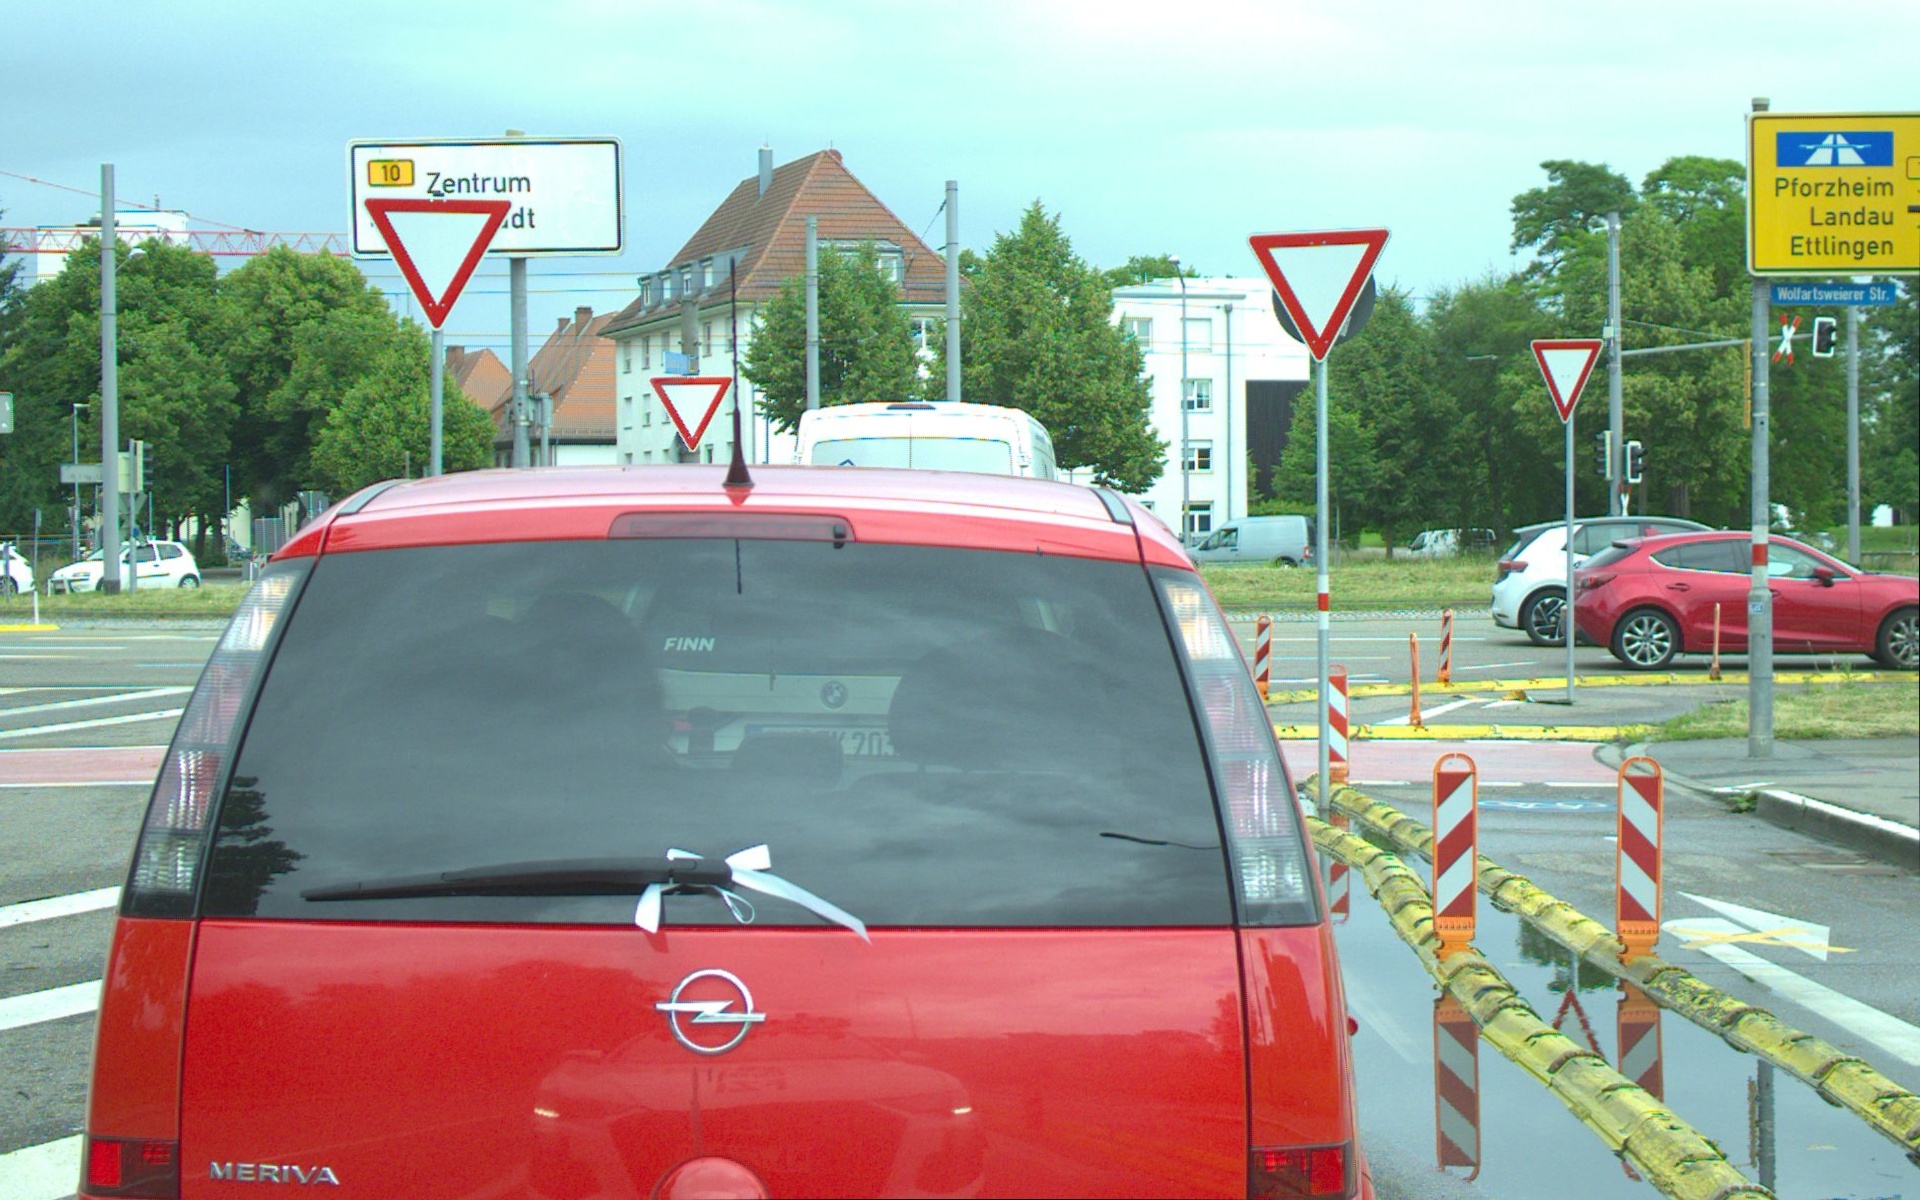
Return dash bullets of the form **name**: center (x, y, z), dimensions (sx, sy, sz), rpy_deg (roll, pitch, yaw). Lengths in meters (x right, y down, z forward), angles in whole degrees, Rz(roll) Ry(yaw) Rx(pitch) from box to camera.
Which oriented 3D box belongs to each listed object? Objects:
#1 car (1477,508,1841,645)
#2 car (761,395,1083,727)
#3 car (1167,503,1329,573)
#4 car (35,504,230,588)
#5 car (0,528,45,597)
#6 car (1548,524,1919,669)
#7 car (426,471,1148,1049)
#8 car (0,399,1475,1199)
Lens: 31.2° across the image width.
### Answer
- **car**: center (8.015, -0.283, 39.749), dimensions (3.988, 1.503, 1.999), rpy_deg (-1, 1, 8)
- **car**: center (-0.211, -0.353, 28.941), dimensions (2.195, 2.531, 4.961), rpy_deg (1, 1, 5)
- **car**: center (8.550, -1.850, 101.857), dimensions (4.466, 2.007, 1.999), rpy_deg (0, 1, 15)
- **car**: center (-20.485, -1.357, 85.236), dimensions (1.997, 2.007, 4.471), rpy_deg (0, 1, 35)
- **car**: center (-23.986, -0.858, 80.607), dimensions (1.998, 1.629, 4.666), rpy_deg (0, 1, 36)
- **car**: center (8.496, -0.057, 36.336), dimensions (4.344, 1.459, 2.000), rpy_deg (-1, 1, 5)
- **car**: center (-0.526, 0.413, 12.191), dimensions (2.059, 1.642, 4.607), rpy_deg (1, 1, -1)
- **car**: center (-0.318, 0.573, 5.492), dimensions (1.673, 1.635, 3.627), rpy_deg (1, 1, -1)
